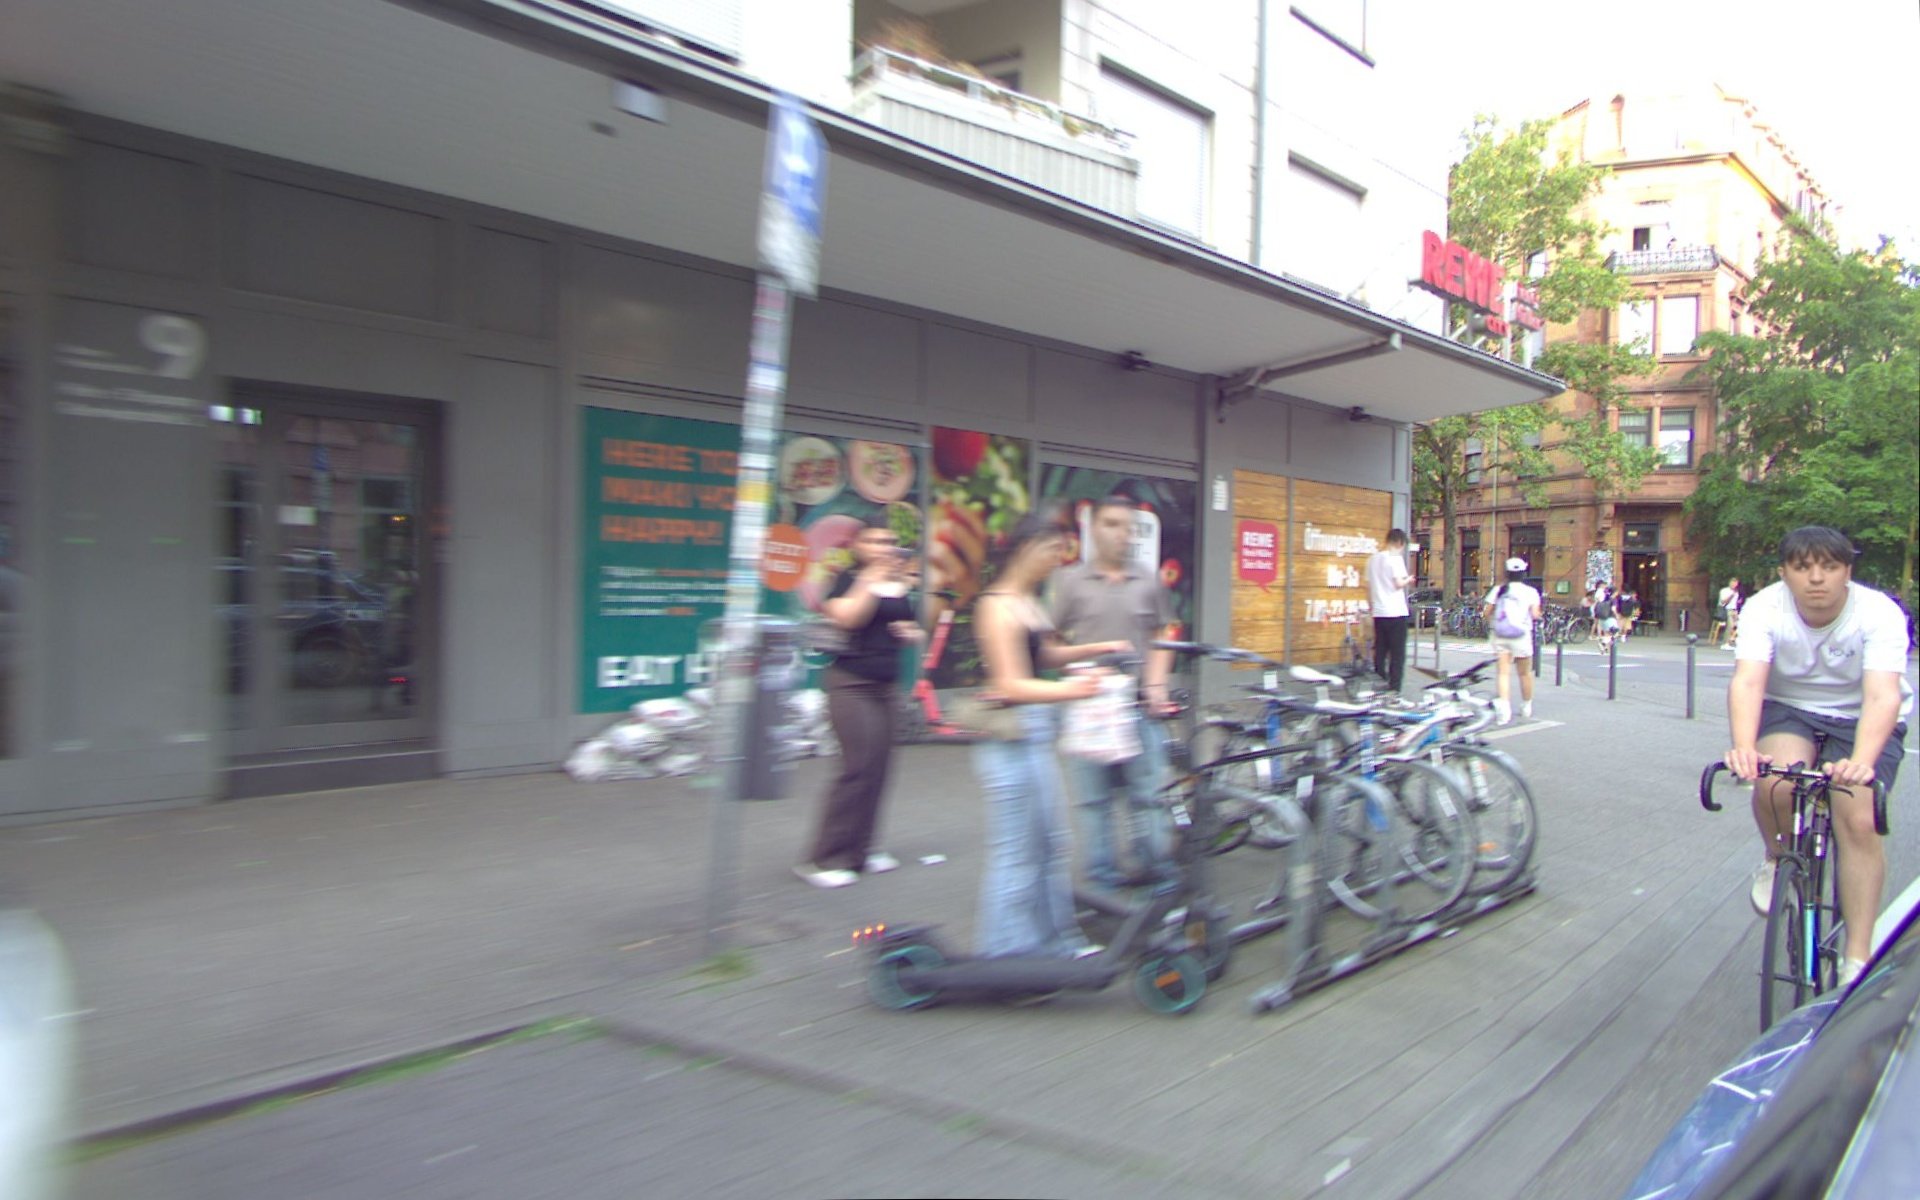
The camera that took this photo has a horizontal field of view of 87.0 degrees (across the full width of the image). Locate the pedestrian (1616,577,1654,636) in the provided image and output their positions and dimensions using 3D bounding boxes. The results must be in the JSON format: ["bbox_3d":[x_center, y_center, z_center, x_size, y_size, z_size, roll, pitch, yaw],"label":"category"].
[{"bbox_3d":[19.188,0.181,28.778,0.628,1.657,0.675,0,1,-2],"label":"pedestrian"}]

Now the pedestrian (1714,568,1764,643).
[{"bbox_3d":[19.959,0.121,25.923,0.891,1.891,0.676,-1,1,-24],"label":"pedestrian"}]

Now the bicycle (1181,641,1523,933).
[{"bbox_3d":[1.772,0.783,4.806,0.501,1.014,1.485,-1,4,-32],"label":"bicycle"}]

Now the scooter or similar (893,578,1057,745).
[{"bbox_3d":[0.100,0.455,7.785,1.139,1.219,0.538,1,1,-12],"label":"scooter or similar"}]

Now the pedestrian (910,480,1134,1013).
[{"bbox_3d":[0.233,0.433,3.434,0.637,1.619,0.590,2,2,11],"label":"pedestrian"}]

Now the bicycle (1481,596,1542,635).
[{"bbox_3d":[16.546,0.453,30.356,1.846,1.091,0.713,-1,1,-28],"label":"bicycle"}]

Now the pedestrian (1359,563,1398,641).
[{"bbox_3d":[9.772,0.044,23.622,0.688,1.767,0.705,3,1,29],"label":"pedestrian"}]

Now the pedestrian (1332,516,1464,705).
[{"bbox_3d":[4.792,0.088,11.074,1.168,1.935,0.763,0,3,-38],"label":"pedestrian"}]

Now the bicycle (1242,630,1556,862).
[{"bbox_3d":[2.437,0.750,5.774,0.502,1.013,1.551,-1,4,-41],"label":"bicycle"}]

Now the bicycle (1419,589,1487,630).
[{"bbox_3d":[15.652,0.296,32.161,1.846,1.255,0.713,0,1,-6],"label":"bicycle"}]

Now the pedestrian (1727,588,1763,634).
[{"bbox_3d":[22.519,0.320,29.033,0.667,1.288,0.635,0,1,24],"label":"pedestrian"}]

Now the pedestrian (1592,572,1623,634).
[{"bbox_3d":[18.908,0.077,29.538,0.672,1.767,0.631,1,1,43],"label":"pedestrian"}]

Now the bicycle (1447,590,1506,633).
[{"bbox_3d":[16.021,0.336,31.364,1.846,1.255,0.713,-1,1,-28],"label":"bicycle"}]

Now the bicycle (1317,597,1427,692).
[{"bbox_3d":[4.951,0.495,12.109,1.752,1.037,0.457,-1,1,-40],"label":"bicycle"}]

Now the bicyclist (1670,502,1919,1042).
[{"bbox_3d":[2.920,0.472,3.364,0.936,1.527,0.650,-1,1,-36],"label":"bicyclist"}]

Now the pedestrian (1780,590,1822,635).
[{"bbox_3d":[24.370,0.350,29.334,0.662,1.288,0.641,0,1,0],"label":"pedestrian"}]

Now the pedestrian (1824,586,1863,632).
[{"bbox_3d":[26.001,0.259,29.806,0.715,1.321,0.743,2,1,32],"label":"pedestrian"}]

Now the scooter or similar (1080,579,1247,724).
[{"bbox_3d":[1.896,0.434,9.342,1.592,1.233,0.480,-1,3,-32],"label":"scooter or similar"}]

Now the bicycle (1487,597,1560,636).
[{"bbox_3d":[16.372,0.481,29.422,1.845,1.071,0.714,-1,1,-12],"label":"bicycle"}]

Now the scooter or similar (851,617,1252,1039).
[{"bbox_3d":[0.274,0.688,3.313,1.142,1.186,0.537,3,1,1],"label":"scooter or similar"}]

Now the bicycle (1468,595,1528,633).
[{"bbox_3d":[16.439,0.428,30.937,1.846,1.091,0.713,-1,1,-28],"label":"bicycle"}]

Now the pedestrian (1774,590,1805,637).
[{"bbox_3d":[23.341,0.374,28.488,0.637,1.288,0.666,0,1,37],"label":"pedestrian"}]

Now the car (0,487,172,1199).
[{"bbox_3d":[-2.740,0.594,0.722,3.364,1.519,1.596,0,3,-41],"label":"car"}]

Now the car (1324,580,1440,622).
[{"bbox_3d":[16.117,0.007,38.703,3.892,1.521,1.631,-1,1,-14],"label":"car"}]

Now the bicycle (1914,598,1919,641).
[{"bbox_3d":[26.644,0.577,27.238,0.658,1.179,2.099,3,3,23],"label":"bicycle"}]

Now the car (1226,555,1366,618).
[{"bbox_3d":[14.306,-0.600,43.117,5.373,2.487,2.126,-2,2,-16],"label":"car"}]

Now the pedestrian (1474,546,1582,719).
[{"bbox_3d":[5.827,0.298,10.432,0.654,1.671,0.880,4,3,14],"label":"pedestrian"}]

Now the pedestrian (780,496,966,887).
[{"bbox_3d":[-0.417,0.388,4.598,0.711,1.651,0.563,2,2,-11],"label":"pedestrian"}]

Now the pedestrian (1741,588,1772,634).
[{"bbox_3d":[23.074,0.314,29.318,0.671,1.288,0.632,0,1,36],"label":"pedestrian"}]

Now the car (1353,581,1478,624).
[{"bbox_3d":[16.295,0.063,36.222,3.892,1.437,1.631,-1,1,-14],"label":"car"}]

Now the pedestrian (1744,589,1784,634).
[{"bbox_3d":[23.712,0.332,29.848,0.627,1.288,0.676,-1,1,-12],"label":"pedestrian"}]

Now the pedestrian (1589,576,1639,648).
[{"bbox_3d":[15.098,0.277,23.366,0.850,1.627,0.540,2,1,-27],"label":"pedestrian"}]

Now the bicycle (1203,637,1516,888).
[{"bbox_3d":[2.022,0.765,5.279,0.502,0.995,1.420,-1,4,-41],"label":"bicycle"}]

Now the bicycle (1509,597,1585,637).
[{"bbox_3d":[16.649,0.480,28.718,1.845,1.064,0.714,-1,1,-12],"label":"bicycle"}]

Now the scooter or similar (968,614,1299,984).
[{"bbox_3d":[0.656,0.690,4.043,1.161,1.186,0.528,4,1,45],"label":"scooter or similar"}]

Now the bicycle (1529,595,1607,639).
[{"bbox_3d":[16.825,0.457,28.027,1.845,1.169,0.714,-1,1,-12],"label":"bicycle"}]

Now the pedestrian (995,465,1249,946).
[{"bbox_3d":[0.660,0.377,4.205,0.724,1.777,0.664,0,2,-34],"label":"pedestrian"}]
